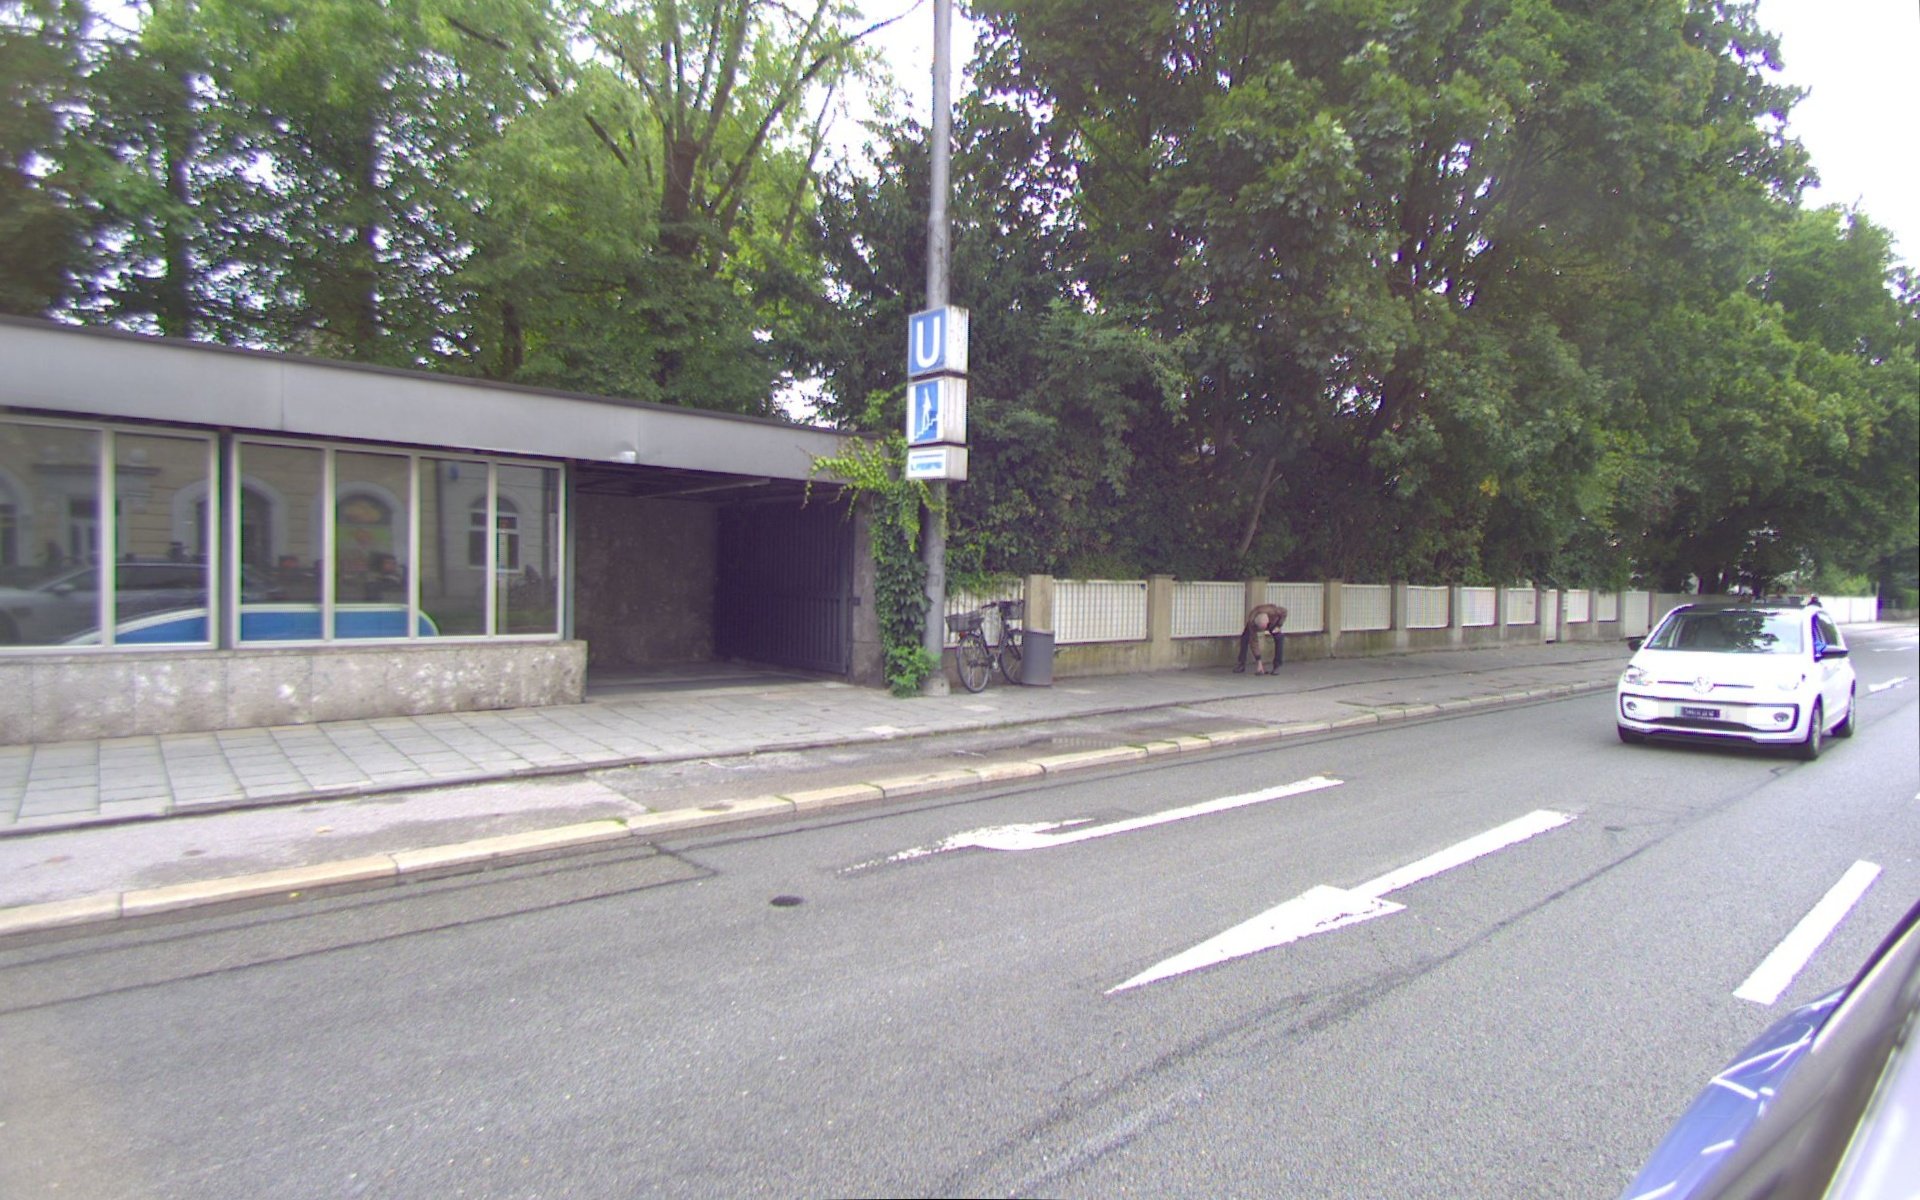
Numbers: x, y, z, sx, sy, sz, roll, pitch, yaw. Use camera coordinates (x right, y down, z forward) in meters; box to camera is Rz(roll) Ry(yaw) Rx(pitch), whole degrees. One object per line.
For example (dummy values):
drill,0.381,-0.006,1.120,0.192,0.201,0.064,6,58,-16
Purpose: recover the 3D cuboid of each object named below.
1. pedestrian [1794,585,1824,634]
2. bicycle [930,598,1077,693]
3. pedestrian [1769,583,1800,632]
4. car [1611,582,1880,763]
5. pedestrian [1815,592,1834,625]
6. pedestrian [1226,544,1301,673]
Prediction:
pedestrian,30.586,0.325,36.465,0.716,1.713,0.667,0,3,-42
bicycle,0.585,0.539,12.898,1.991,1.104,0.623,0,1,-41
pedestrian,30.120,0.268,36.976,0.753,1.726,0.667,0,3,-42
car,8.443,0.632,10.787,3.524,1.581,1.645,0,1,-42
pedestrian,41.986,0.405,49.137,0.716,1.600,0.529,0,3,-42
pedestrian,4.795,0.112,15.995,0.788,1.966,0.779,0,2,-40
